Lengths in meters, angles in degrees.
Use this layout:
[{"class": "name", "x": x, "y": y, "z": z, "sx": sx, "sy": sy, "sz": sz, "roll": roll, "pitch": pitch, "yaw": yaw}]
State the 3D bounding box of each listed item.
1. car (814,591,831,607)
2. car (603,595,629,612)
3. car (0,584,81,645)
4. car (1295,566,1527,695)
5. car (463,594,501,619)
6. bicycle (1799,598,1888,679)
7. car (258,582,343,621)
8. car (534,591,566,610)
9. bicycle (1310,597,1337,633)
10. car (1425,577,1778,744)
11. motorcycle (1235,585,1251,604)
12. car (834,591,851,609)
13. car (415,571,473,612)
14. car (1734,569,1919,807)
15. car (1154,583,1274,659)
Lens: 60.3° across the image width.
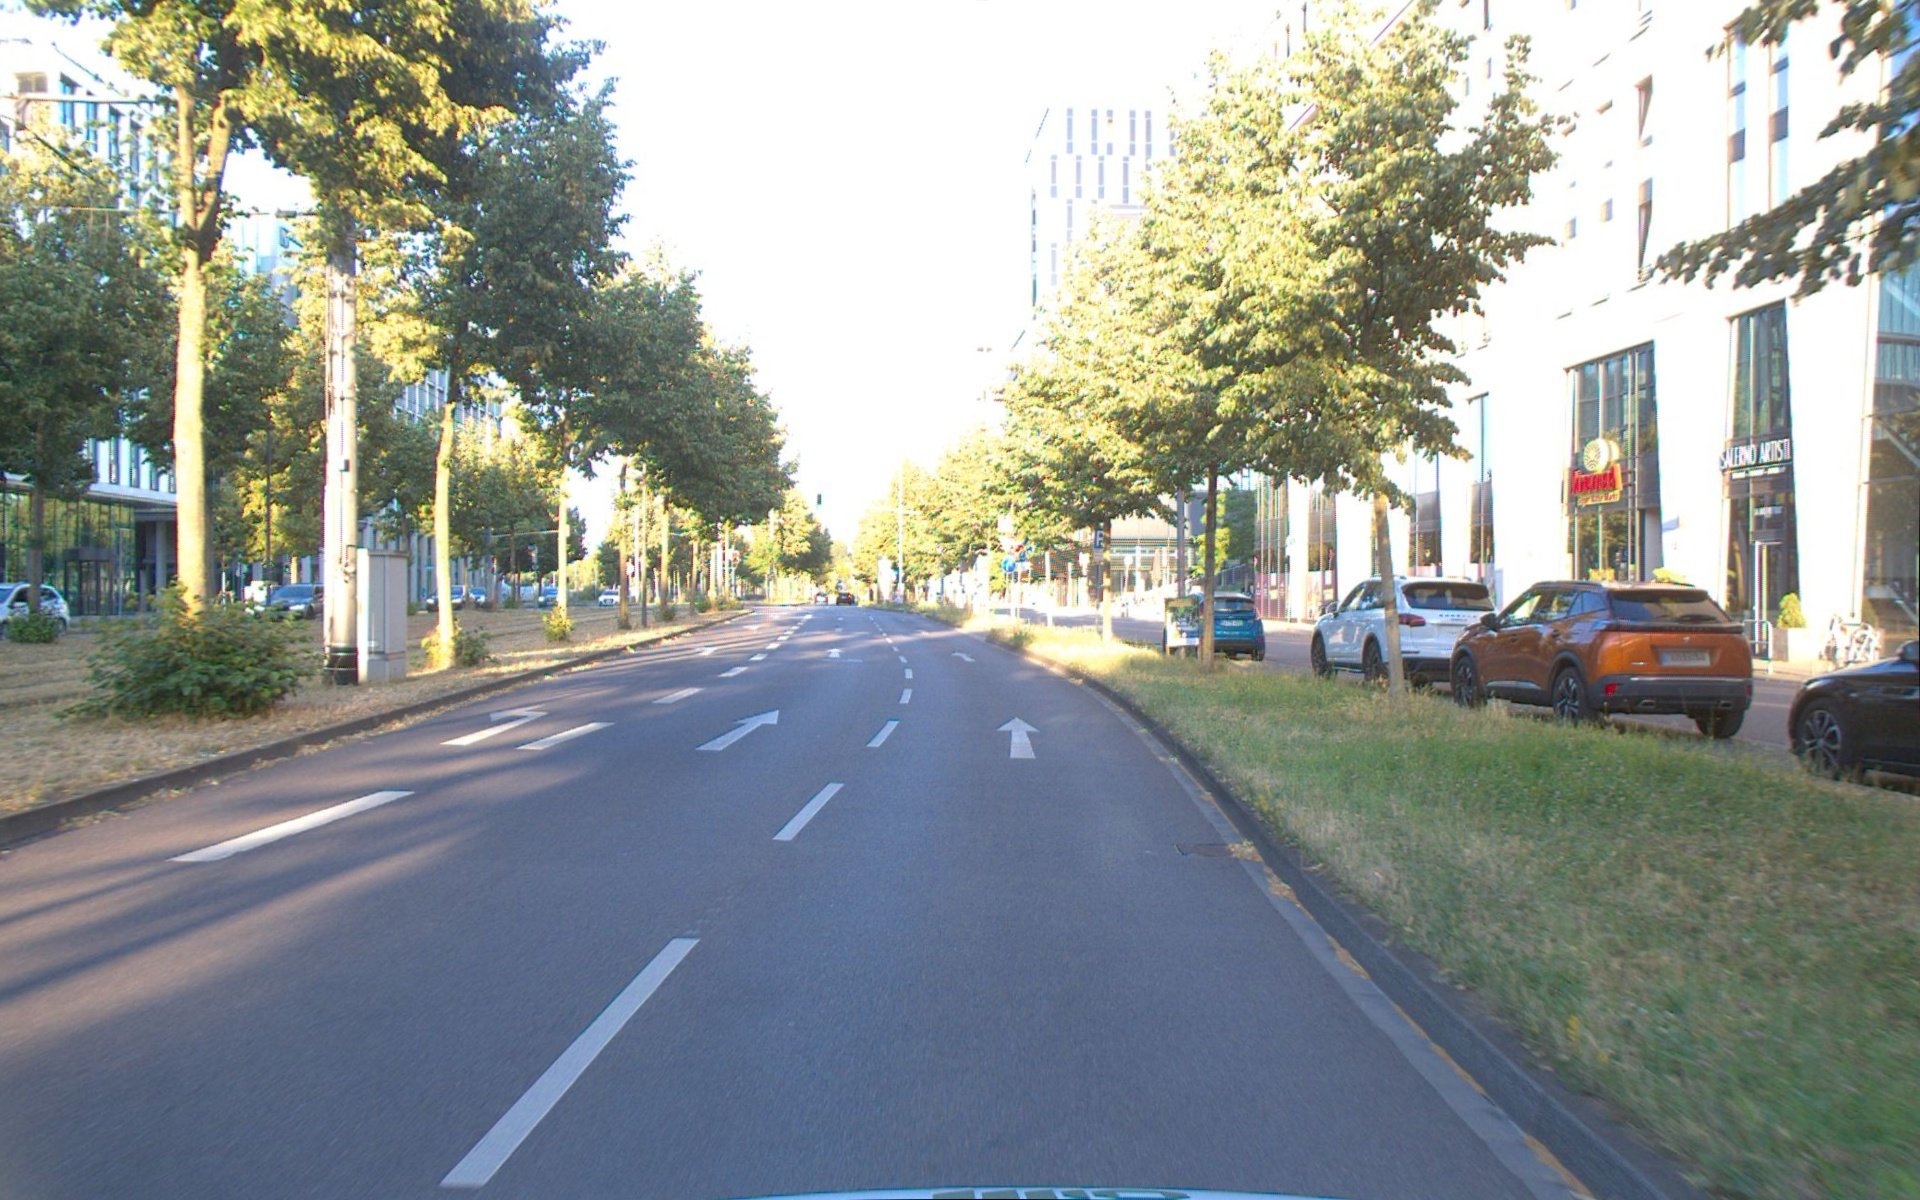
[{"class": "car", "x": -17.368, "y": -0.127, "z": 209.114, "sx": 2.047, "sy": 2.049, "sz": 3.996, "roll": 0, "pitch": 1, "yaw": -5}, {"class": "car", "x": -28.906, "y": 0.270, "z": 138.965, "sx": 1.752, "sy": 1.355, "sz": 3.667, "roll": 0, "pitch": 0, "yaw": -6}, {"class": "car", "x": -22.430, "y": 0.309, "z": 38.731, "sx": 1.625, "sy": 1.355, "sz": 4.525, "roll": 0, "pitch": 0, "yaw": -6}, {"class": "car", "x": 6.751, "y": 0.411, "z": 25.422, "sx": 1.912, "sy": 1.744, "sz": 5.156, "roll": 1, "pitch": 0, "yaw": -3}, {"class": "car", "x": -31.128, "y": 0.410, "z": 107.792, "sx": 1.625, "sy": 1.528, "sz": 4.185, "roll": 0, "pitch": 0, "yaw": -6}, {"class": "bicycle", "x": 13.468, "y": 0.561, "z": 25.265, "sx": 0.558, "sy": 1.144, "sz": 1.835, "roll": -2, "pitch": 1, "yaw": 7}, {"class": "car", "x": -24.035, "y": 0.024, "z": 60.412, "sx": 1.625, "sy": 1.355, "sz": 4.736, "roll": 0, "pitch": 0, "yaw": -6}, {"class": "car", "x": -30.954, "y": 0.041, "z": 124.975, "sx": 1.625, "sy": 1.355, "sz": 4.579, "roll": 0, "pitch": 0, "yaw": -6}, {"class": "bicycle", "x": 11.571, "y": 0.474, "z": 52.708, "sx": 0.437, "sy": 1.091, "sz": 1.773, "roll": -2, "pitch": 0, "yaw": 0}, {"class": "car", "x": 6.760, "y": 0.569, "z": 18.021, "sx": 1.818, "sy": 1.556, "sz": 4.479, "roll": 1, "pitch": 0, "yaw": -4}, {"class": "motorcycle", "x": 17.429, "y": -0.343, "z": 101.754, "sx": 0.636, "sy": 1.113, "sz": 2.333, "roll": 0, "pitch": 0, "yaw": 1}, {"class": "car", "x": -13.674, "y": 0.012, "z": 192.208, "sx": 1.954, "sy": 2.049, "sz": 3.996, "roll": 0, "pitch": 1, "yaw": -5}, {"class": "car", "x": -26.208, "y": -0.437, "z": 84.116, "sx": 1.955, "sy": 2.049, "sz": 3.996, "roll": 0, "pitch": 0, "yaw": -5}, {"class": "car", "x": 7.326, "y": 0.592, "z": 10.804, "sx": 1.906, "sy": 1.576, "sz": 4.806, "roll": 1, "pitch": 0, "yaw": -6}, {"class": "car", "x": 5.570, "y": 0.434, "z": 36.799, "sx": 1.690, "sy": 1.556, "sz": 4.264, "roll": 1, "pitch": 0, "yaw": -4}]
